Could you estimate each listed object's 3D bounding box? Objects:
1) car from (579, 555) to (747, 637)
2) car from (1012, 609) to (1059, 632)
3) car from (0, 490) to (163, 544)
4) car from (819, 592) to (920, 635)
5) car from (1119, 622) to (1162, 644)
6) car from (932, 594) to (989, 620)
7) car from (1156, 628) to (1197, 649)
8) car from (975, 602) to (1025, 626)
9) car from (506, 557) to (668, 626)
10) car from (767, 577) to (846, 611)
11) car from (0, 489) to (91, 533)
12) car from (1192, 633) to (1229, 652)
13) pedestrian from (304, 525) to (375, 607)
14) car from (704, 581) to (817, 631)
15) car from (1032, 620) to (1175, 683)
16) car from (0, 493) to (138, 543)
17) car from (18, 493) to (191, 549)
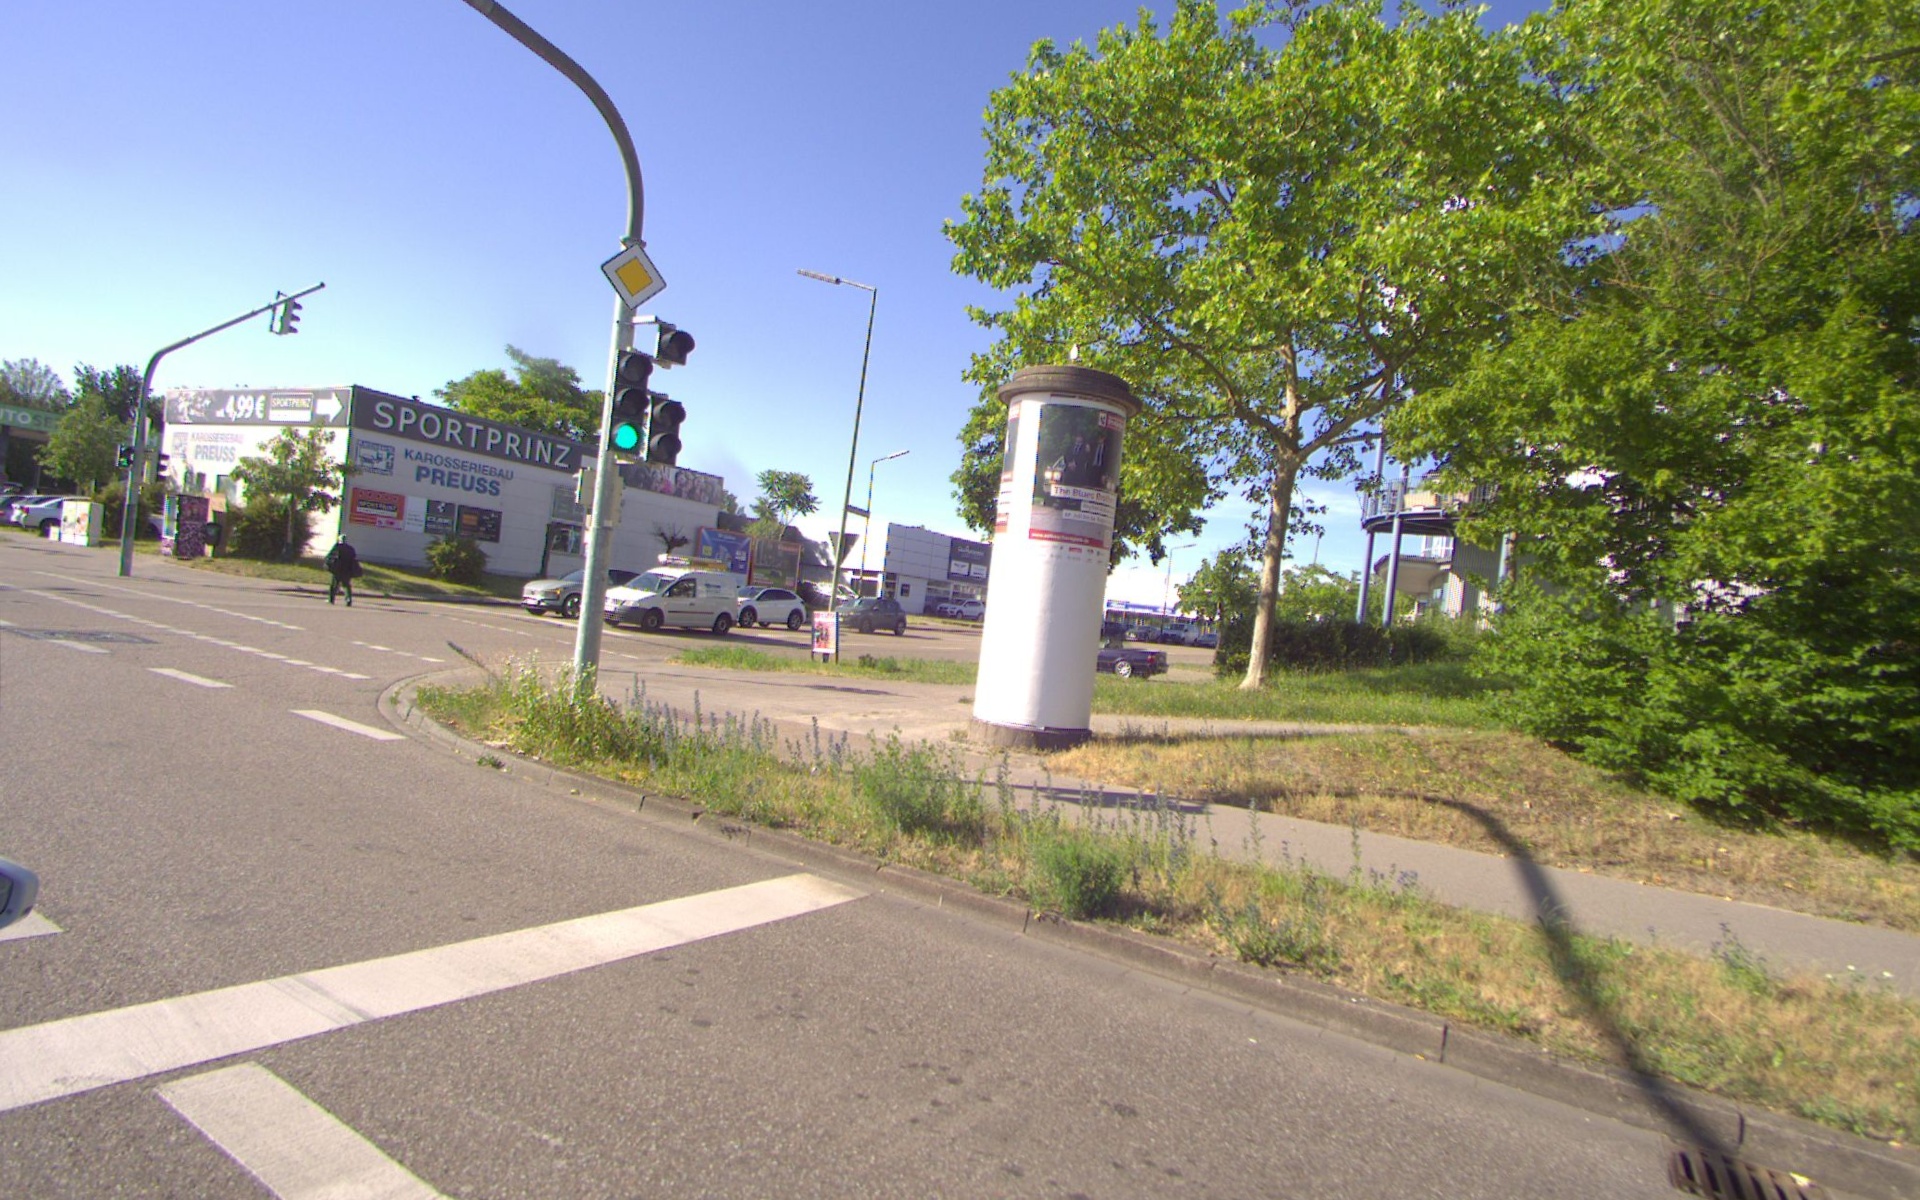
[{"bbox_3d":[-8.238,-0.059,28.326,1.735,1.824,4.388,8,1,30],"label":"car"},{"bbox_3d":[6.052,1.646,80.023,1.737,1.509,4.228,6,1,35],"label":"car"},{"bbox_3d":[-33.727,-3.152,38.627,1.828,1.472,4.490,6,0,33],"label":"car"},{"bbox_3d":[-3.763,0.595,42.500,1.736,1.509,4.552,6,0,33],"label":"car"},{"bbox_3d":[14.536,2.655,80.802,1.736,1.509,4.552,6,0,33],"label":"car"},{"bbox_3d":[0.080,0.535,72.107,1.737,1.509,4.550,6,1,35],"label":"car"},{"bbox_3d":[18.804,3.366,87.160,1.883,1.509,4.552,6,0,33],"label":"car"},{"bbox_3d":[3.019,1.080,75.740,1.737,1.509,4.100,6,1,35],"label":"car"},{"bbox_3d":[-11.026,-0.204,30.057,1.735,1.568,4.293,8,1,30],"label":"car"},{"bbox_3d":[-8.909,-0.377,58.219,4.495,1.509,1.758,6,1,36],"label":"car"},{"bbox_3d":[-39.375,-3.790,41.866,1.828,1.472,4.490,6,0,33],"label":"car"},{"bbox_3d":[23.500,3.966,94.438,1.883,1.509,4.552,6,0,33],"label":"car"},{"bbox_3d":[-14.563,-0.801,23.630,0.923,1.755,0.927,6,-2,31],"label":"pedestrian"},{"bbox_3d":[-7.227,0.260,36.750,1.752,1.509,4.046,6,0,29],"label":"car"},{"bbox_3d":[4.499,1.588,31.590,3.983,1.509,1.780,6,1,27],"label":"car"},{"bbox_3d":[-35.961,-3.286,40.176,1.828,1.472,4.490,6,0,33],"label":"car"},{"bbox_3d":[-31.372,-2.860,37.027,1.828,1.472,4.490,6,0,33],"label":"car"}]
